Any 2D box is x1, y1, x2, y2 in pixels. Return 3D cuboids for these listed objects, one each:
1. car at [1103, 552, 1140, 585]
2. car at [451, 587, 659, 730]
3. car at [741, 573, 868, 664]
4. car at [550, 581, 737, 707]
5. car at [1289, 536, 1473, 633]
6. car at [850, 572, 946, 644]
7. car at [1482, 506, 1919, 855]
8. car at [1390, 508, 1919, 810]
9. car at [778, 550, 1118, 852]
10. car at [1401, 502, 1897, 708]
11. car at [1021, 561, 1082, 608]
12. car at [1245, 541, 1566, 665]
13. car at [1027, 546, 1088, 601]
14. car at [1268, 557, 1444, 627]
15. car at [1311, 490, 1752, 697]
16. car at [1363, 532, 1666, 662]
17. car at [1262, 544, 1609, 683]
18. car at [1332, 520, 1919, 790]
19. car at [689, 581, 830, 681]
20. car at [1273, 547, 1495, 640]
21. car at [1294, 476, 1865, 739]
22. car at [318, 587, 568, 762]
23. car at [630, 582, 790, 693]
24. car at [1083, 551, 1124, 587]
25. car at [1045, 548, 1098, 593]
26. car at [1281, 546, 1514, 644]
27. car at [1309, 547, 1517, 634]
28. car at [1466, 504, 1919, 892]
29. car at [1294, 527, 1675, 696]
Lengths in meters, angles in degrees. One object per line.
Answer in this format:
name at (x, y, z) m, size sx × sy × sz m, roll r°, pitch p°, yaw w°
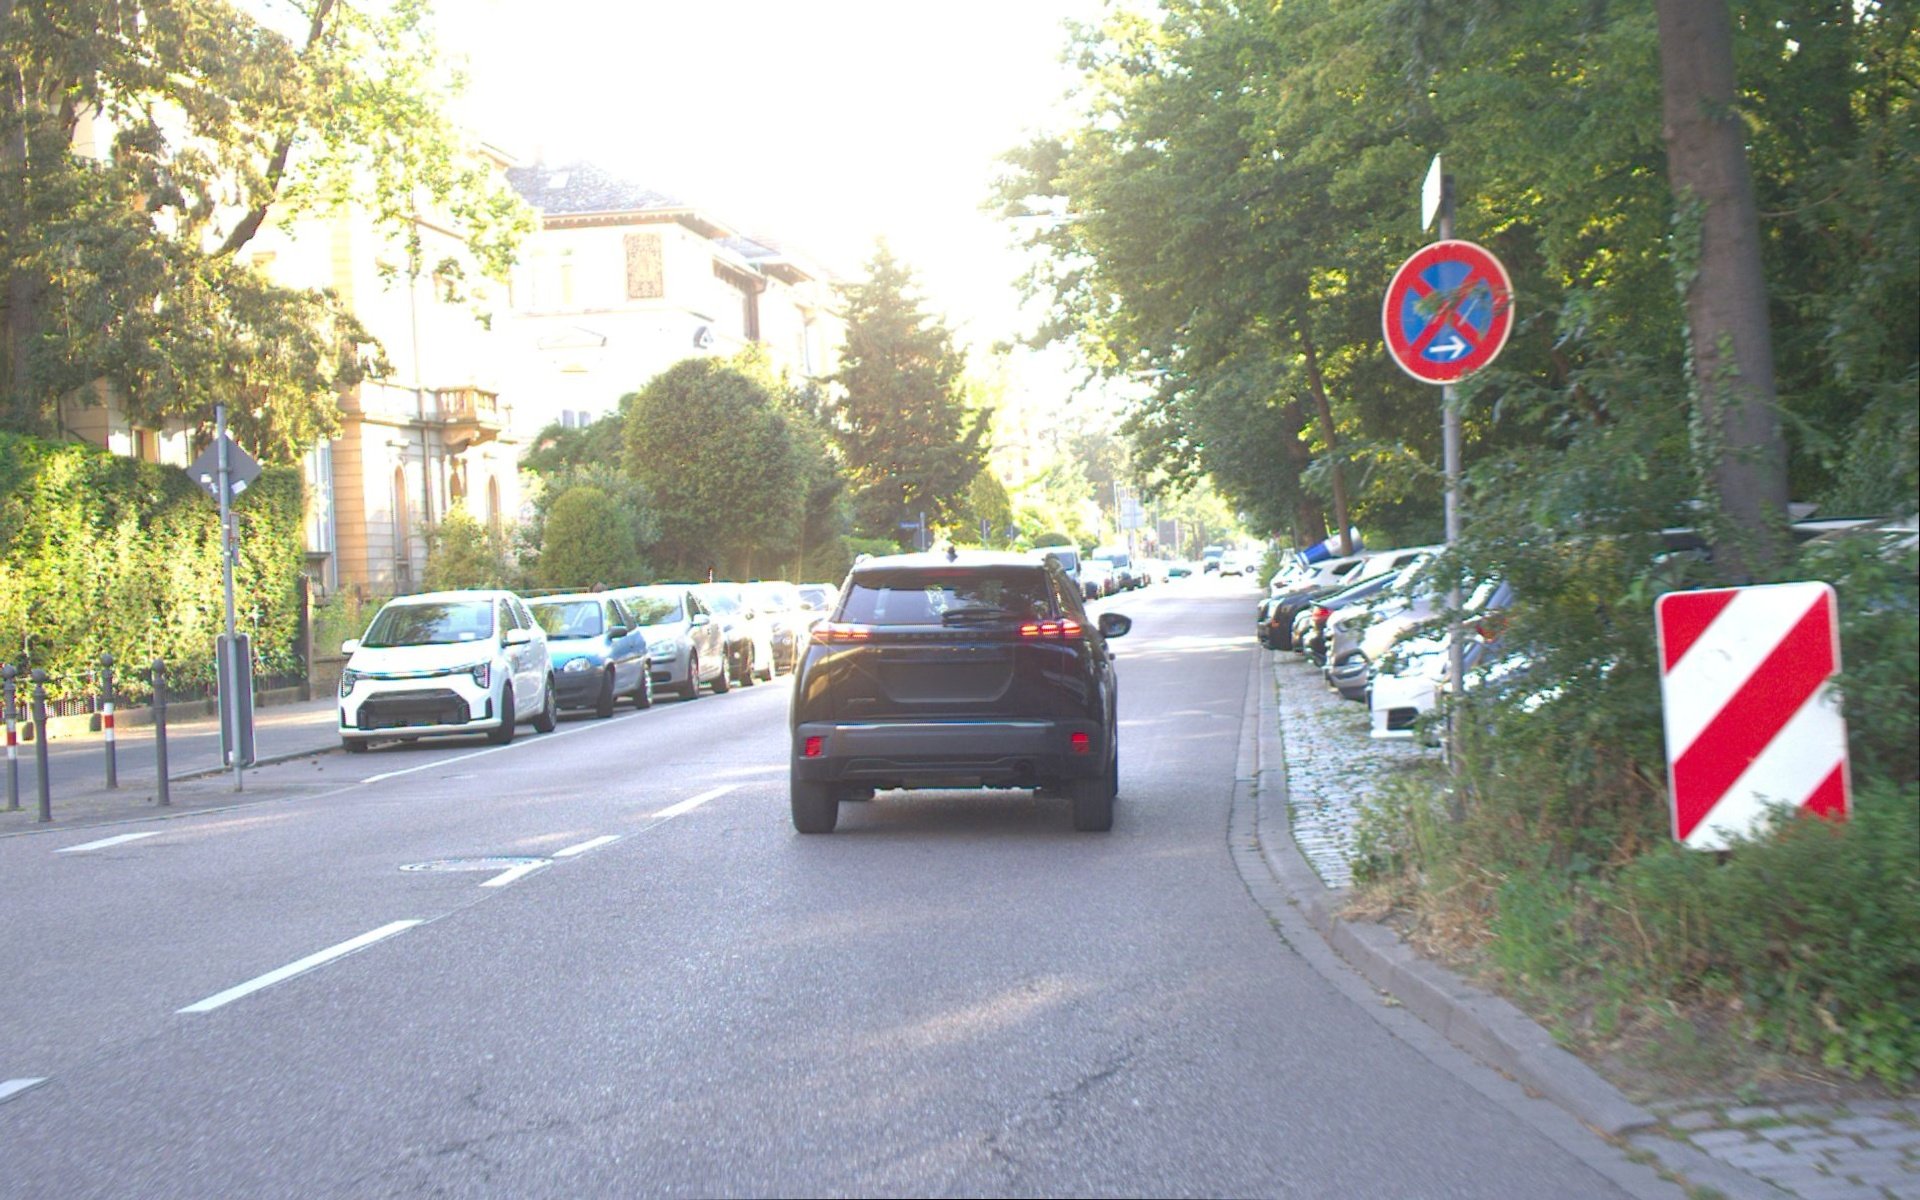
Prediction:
car at (9.449, -1.830, 201.162) m, size 1.994 × 1.809 × 3.999 m, roll -2°, pitch 0°, yaw 5°
car at (-4.607, 0.637, 39.559) m, size 1.614 × 1.480 × 3.741 m, roll -3°, pitch 0°, yaw 4°
car at (-2.687, 0.307, 60.209) m, size 1.614 × 1.461 × 4.035 m, roll -3°, pitch 0°, yaw 5°
car at (-4.026, 0.532, 44.299) m, size 1.614 × 1.461 × 4.035 m, roll -3°, pitch 0°, yaw 5°
car at (9.767, -0.369, 79.983) m, size 3.987 × 2.082 × 1.758 m, roll -2°, pitch 0°, yaw 0°
car at (-1.351, 0.160, 76.402) m, size 1.752 × 1.409 × 3.764 m, roll -4°, pitch 1°, yaw 3°
car at (4.712, 0.324, 17.187) m, size 3.987 × 1.549 × 1.725 m, roll -3°, pitch 2°, yaw 5°
car at (4.624, 0.302, 20.383) m, size 3.987 × 1.549 × 1.752 m, roll -3°, pitch 2°, yaw 5°
car at (-0.110, 0.498, 19.961) m, size 1.771 × 1.563 × 4.109 m, roll 0°, pitch 1°, yaw -1°
car at (5.913, 0.073, 29.895) m, size 3.987 × 1.549 × 1.725 m, roll -3°, pitch -2°, yaw 5°
car at (3.241, -0.566, 121.406) m, size 1.900 × 1.568 × 3.999 m, roll -2°, pitch 0°, yaw 5°
car at (6.219, 0.037, 48.388) m, size 4.243 × 1.444 × 2.021 m, roll -4°, pitch 0°, yaw 3°
car at (3.763, -1.032, 132.153) m, size 1.994 × 2.007 × 3.999 m, roll -2°, pitch 0°, yaw 6°
car at (9.526, -0.202, 82.820) m, size 3.987 × 1.520 × 1.758 m, roll -2°, pitch 0°, yaw 0°
car at (5.848, -0.071, 35.609) m, size 4.246 × 1.783 × 1.883 m, roll -4°, pitch 0°, yaw 5°
car at (7.332, -0.047, 45.600) m, size 3.809 × 1.444 × 1.825 m, roll -4°, pitch 0°, yaw 8°
car at (5.988, 0.162, 43.338) m, size 4.158 × 1.444 × 1.730 m, roll -4°, pitch 0°, yaw 8°
car at (4.889, 0.316, 22.841) m, size 4.483 × 1.549 × 1.857 m, roll -3°, pitch 1°, yaw -4°
car at (-3.191, 0.467, 55.365) m, size 1.614 × 1.461 × 4.035 m, roll -3°, pitch 0°, yaw 5°
car at (8.092, -0.121, 65.807) m, size 3.987 × 1.619 × 1.758 m, roll -2°, pitch 0°, yaw 0°
car at (4.981, 0.057, 28.184) m, size 4.307 × 1.798 × 2.035 m, roll -4°, pitch 0°, yaw 4°
car at (-5.030, 0.686, 33.883) m, size 1.614 × 1.510 × 3.711 m, roll -4°, pitch 0°, yaw 3°
car at (-3.600, 0.515, 50.058) m, size 1.614 × 1.461 × 4.035 m, roll -3°, pitch 0°, yaw 5°
car at (7.638, -1.624, 182.478) m, size 1.994 × 1.809 × 3.999 m, roll -2°, pitch 0°, yaw 5°
car at (4.689, -1.236, 143.988) m, size 1.994 × 1.762 × 3.999 m, roll -2°, pitch 0°, yaw 4°
car at (7.670, -0.085, 60.552) m, size 3.808 × 1.444 × 1.826 m, roll -4°, pitch 0°, yaw 1°
car at (9.258, -0.194, 70.540) m, size 3.987 × 1.619 × 1.758 m, roll -2°, pitch 0°, yaw 0°
car at (4.348, 0.349, 15.278) m, size 3.987 × 1.549 × 1.725 m, roll -3°, pitch 1°, yaw 5°
car at (5.779, 0.125, 38.284) m, size 3.988 × 1.549 × 1.725 m, roll -4°, pitch 0°, yaw 5°
